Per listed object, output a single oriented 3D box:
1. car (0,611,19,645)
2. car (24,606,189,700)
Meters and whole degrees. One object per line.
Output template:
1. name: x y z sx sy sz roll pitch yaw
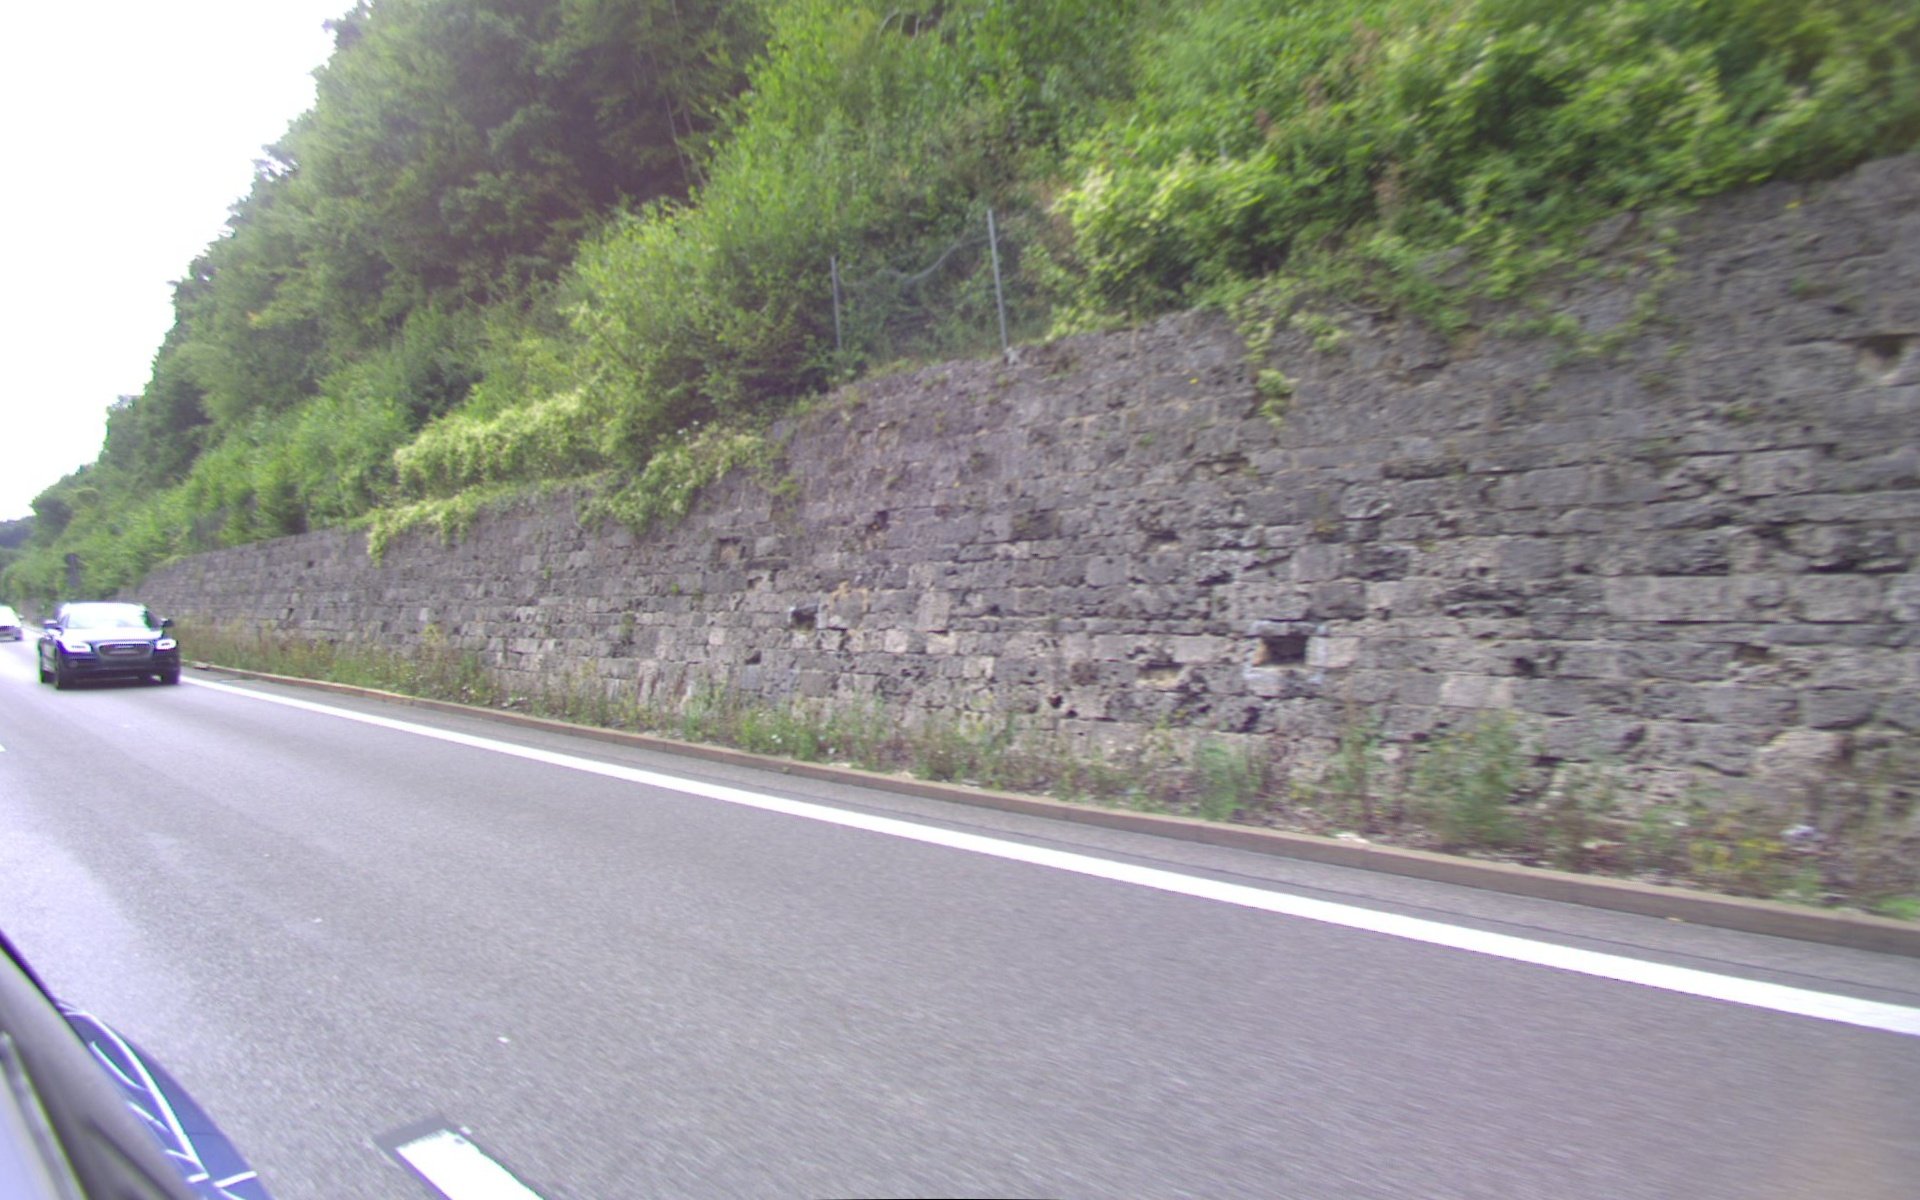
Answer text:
1. car: -45.774 1.356 47.897 1.797 1.567 4.003 0 -2 -43
2. car: -17.842 0.974 21.038 5.586 1.605 1.950 0 2 43
